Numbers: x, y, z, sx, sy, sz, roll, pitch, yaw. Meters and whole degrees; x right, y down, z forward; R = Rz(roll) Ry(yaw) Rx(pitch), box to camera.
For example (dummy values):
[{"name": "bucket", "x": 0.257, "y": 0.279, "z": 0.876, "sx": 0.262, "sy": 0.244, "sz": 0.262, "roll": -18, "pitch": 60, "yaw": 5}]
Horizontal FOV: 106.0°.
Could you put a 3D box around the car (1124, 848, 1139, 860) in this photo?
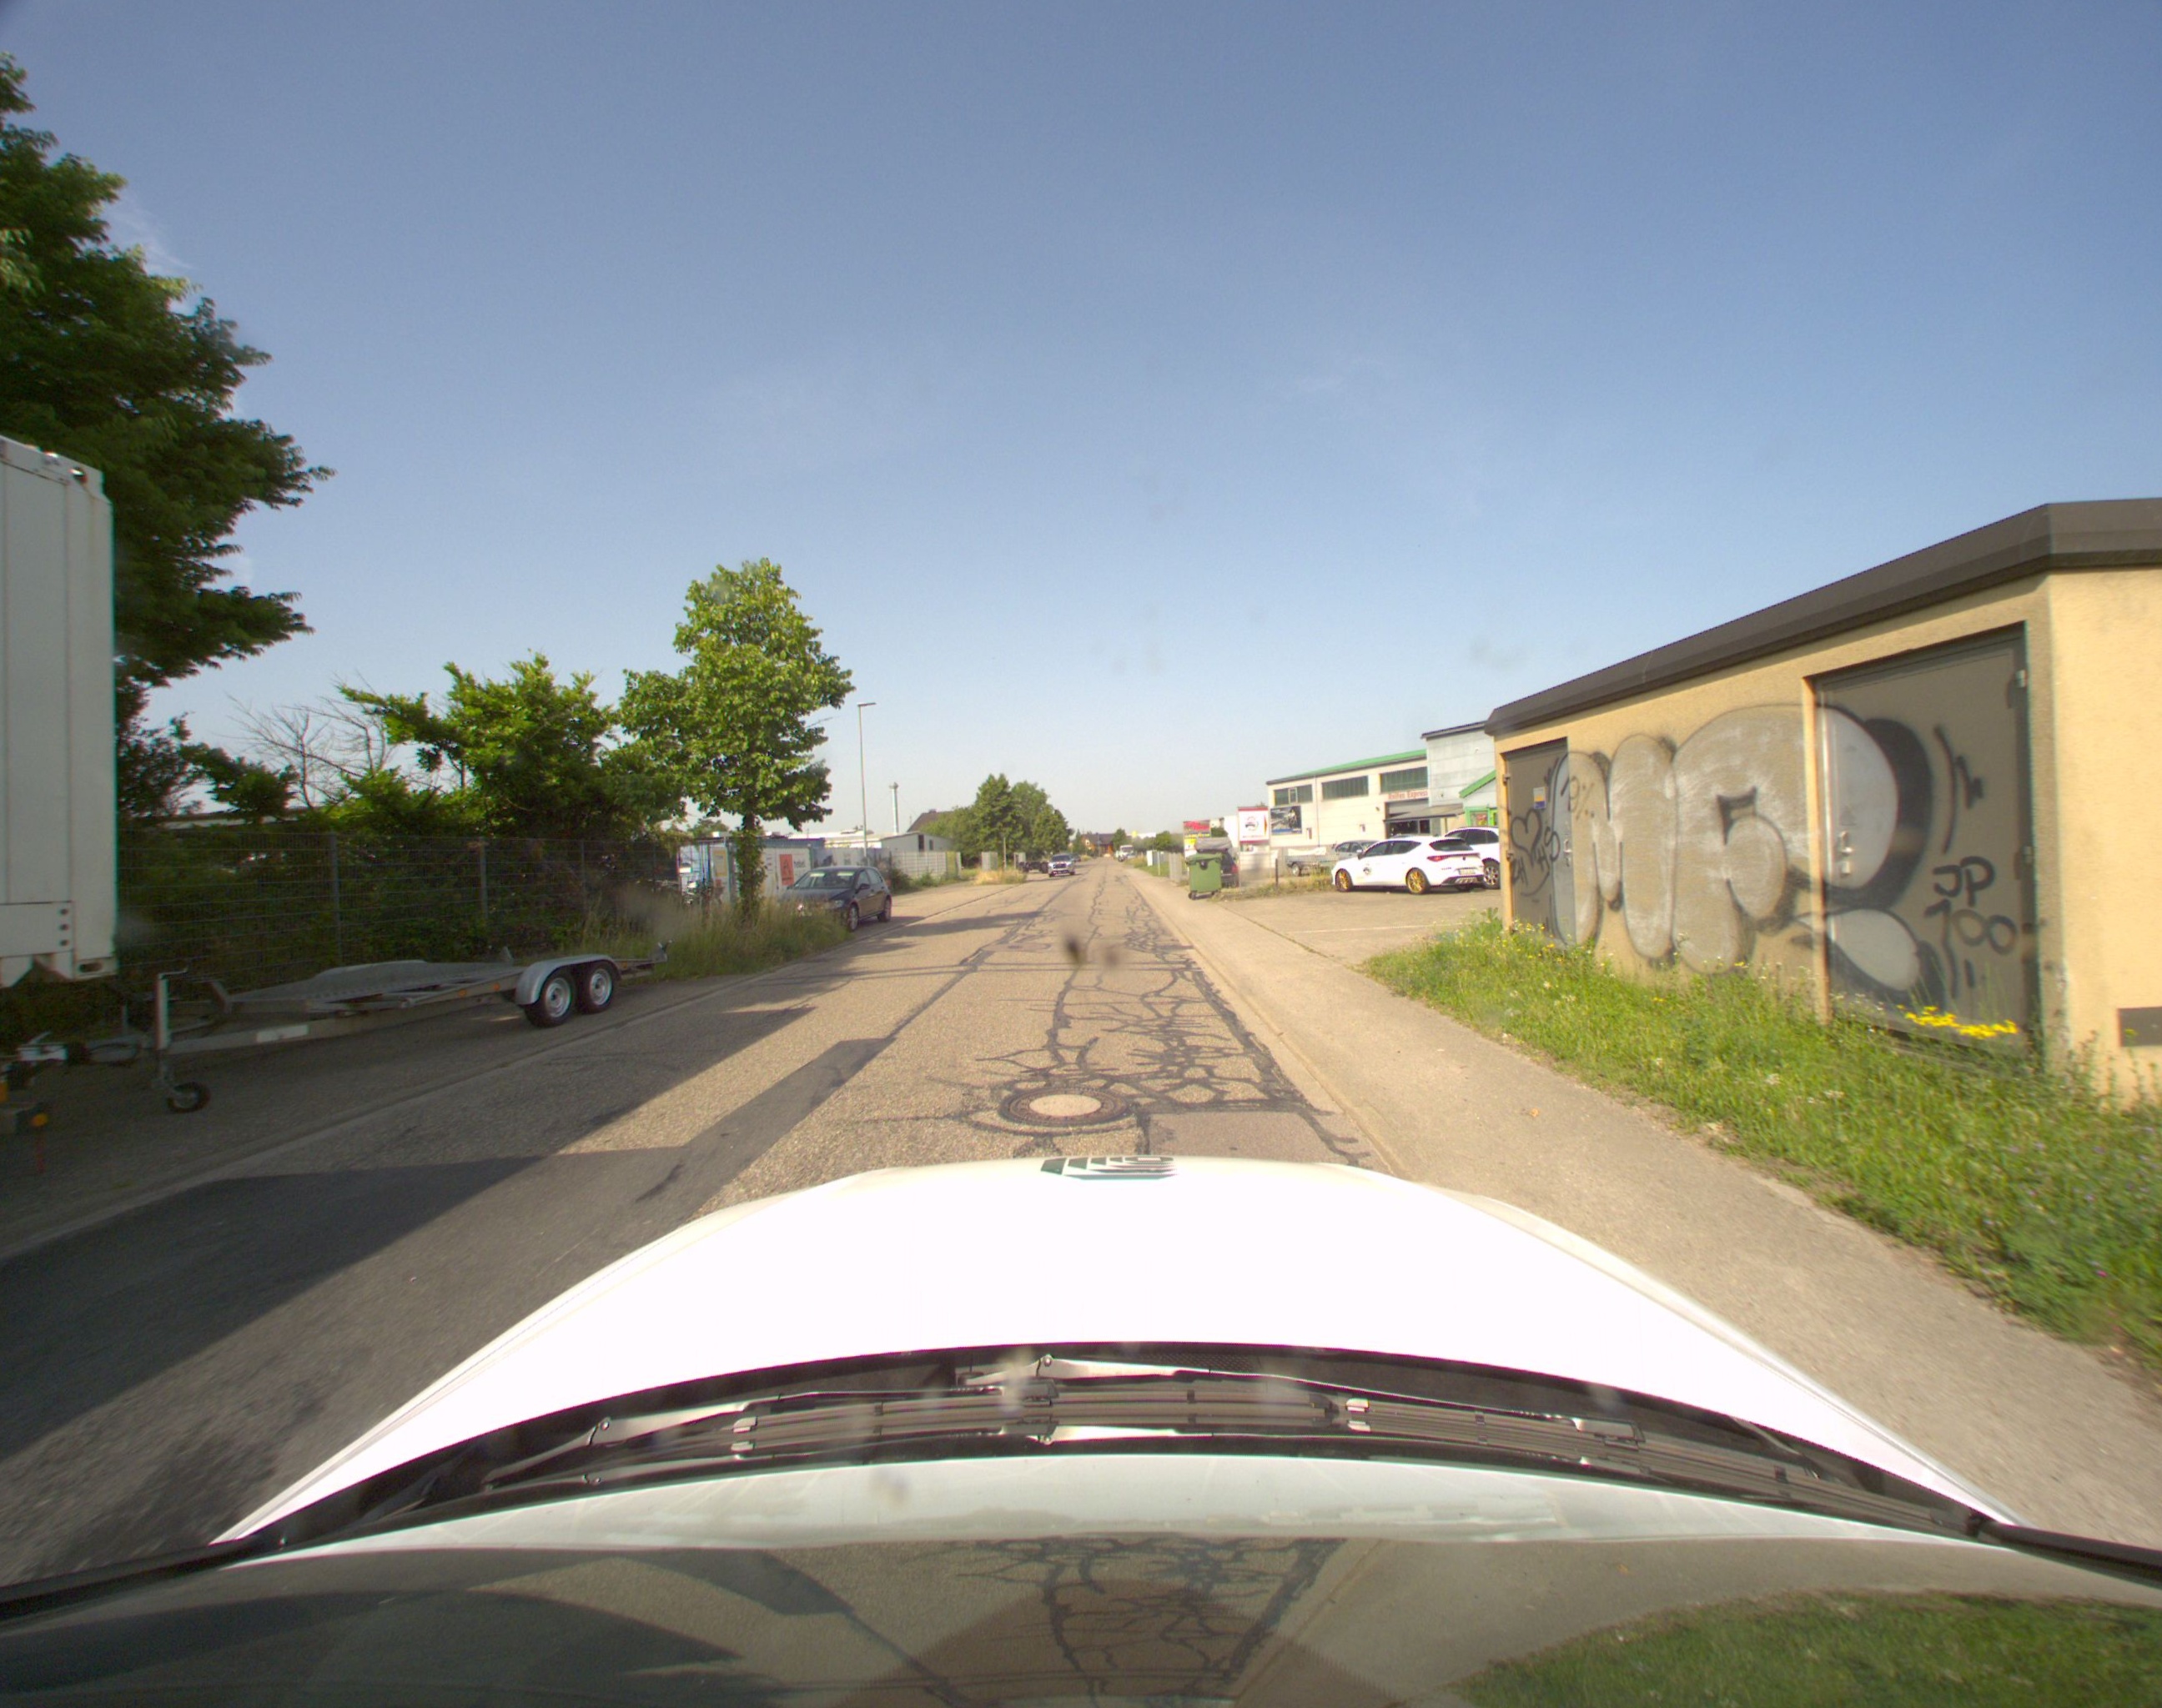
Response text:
[{"name": "car", "x": 6.702, "y": -0.032, "z": 108.786, "sx": 1.787, "sy": 1.517, "sz": 4.426, "roll": -3, "pitch": 0, "yaw": 2}]

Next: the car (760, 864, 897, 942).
[{"name": "car", "x": -5.805, "y": 1.062, "z": 19.256, "sx": 1.680, "sy": 1.470, "sz": 4.097, "roll": -3, "pitch": 0, "yaw": 3}]

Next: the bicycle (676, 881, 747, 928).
[{"name": "bicycle", "x": -9.203, "y": 1.228, "z": 20.415, "sx": 0.560, "sy": 0.973, "sz": 2.453, "roll": -4, "pitch": 0, "yaw": 1}]

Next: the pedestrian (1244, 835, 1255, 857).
[{"name": "pedestrian", "x": 12.909, "y": -0.604, "z": 62.316, "sx": 0.697, "sy": 1.640, "sz": 0.752, "roll": -3, "pitch": 0, "yaw": 13}]

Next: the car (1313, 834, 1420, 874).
[{"name": "car", "x": 11.824, "y": 0.022, "z": 34.045, "sx": 1.646, "sy": 1.466, "sz": 4.427, "roll": -3, "pitch": 0, "yaw": -22}]

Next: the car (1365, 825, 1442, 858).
[{"name": "car", "x": 16.971, "y": -0.643, "z": 43.073, "sx": 1.639, "sy": 1.568, "sz": 3.780, "roll": -3, "pitch": 0, "yaw": -19}]

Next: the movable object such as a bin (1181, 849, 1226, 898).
[{"name": "movable object such as a bin", "x": 3.671, "y": 0.565, "z": 24.528, "sx": 1.076, "sy": 1.353, "sz": 1.507, "roll": -6, "pitch": 0, "yaw": 3}]

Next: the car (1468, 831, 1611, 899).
[{"name": "car", "x": 13.070, "y": 0.307, "z": 23.386, "sx": 1.645, "sy": 1.719, "sz": 3.190, "roll": -3, "pitch": 0, "yaw": -22}]

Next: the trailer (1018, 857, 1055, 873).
[{"name": "trailer", "x": -3.927, "y": 0.947, "z": 73.788, "sx": 2.573, "sy": 1.184, "sz": 9.366, "roll": -2, "pitch": 0, "yaw": 2}]

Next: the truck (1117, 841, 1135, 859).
[{"name": "truck", "x": 7.292, "y": -0.624, "z": 132.261, "sx": 2.353, "sy": 2.681, "sz": 6.507, "roll": -3, "pitch": 0, "yaw": -2}]

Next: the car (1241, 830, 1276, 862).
[{"name": "car", "x": 16.505, "y": -0.722, "z": 75.882, "sx": 1.967, "sy": 2.705, "sz": 5.883, "roll": -3, "pitch": 0, "yaw": 2}]

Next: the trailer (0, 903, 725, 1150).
[{"name": "trailer", "x": -6.320, "y": 1.279, "z": 8.094, "sx": 2.639, "sy": 0.985, "sz": 6.245, "roll": -4, "pitch": 0, "yaw": 1}]

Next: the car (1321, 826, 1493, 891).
[{"name": "car", "x": 8.376, "y": 0.129, "z": 21.368, "sx": 1.694, "sy": 1.466, "sz": 4.230, "roll": -3, "pitch": 0, "yaw": -22}]

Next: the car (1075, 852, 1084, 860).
[{"name": "car", "x": -0.291, "y": 0.413, "z": 168.289, "sx": 1.793, "sy": 1.386, "sz": 3.639, "roll": -2, "pitch": 0, "yaw": 1}]

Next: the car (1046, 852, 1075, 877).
[{"name": "car", "x": -1.469, "y": 0.767, "z": 60.435, "sx": 1.805, "sy": 1.627, "sz": 4.250, "roll": -4, "pitch": 0, "yaw": 1}]

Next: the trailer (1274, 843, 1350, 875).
[{"name": "trailer", "x": 9.662, "y": 0.195, "z": 34.213, "sx": 1.497, "sy": 1.248, "sz": 2.953, "roll": -2, "pitch": 0, "yaw": -24}]

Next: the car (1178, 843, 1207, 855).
[{"name": "car", "x": 16.572, "y": -0.716, "z": 120.614, "sx": 4.559, "sy": 1.589, "sz": 1.667, "roll": -4, "pitch": 0, "yaw": -43}]

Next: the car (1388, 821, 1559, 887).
[{"name": "car", "x": 10.646, "y": 0.013, "z": 22.448, "sx": 1.722, "sy": 1.572, "sz": 4.102, "roll": -3, "pitch": 0, "yaw": -22}]

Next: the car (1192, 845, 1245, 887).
[{"name": "car", "x": 5.046, "y": 0.398, "z": 30.358, "sx": 1.665, "sy": 1.368, "sz": 4.402, "roll": -3, "pitch": 0, "yaw": 7}]
